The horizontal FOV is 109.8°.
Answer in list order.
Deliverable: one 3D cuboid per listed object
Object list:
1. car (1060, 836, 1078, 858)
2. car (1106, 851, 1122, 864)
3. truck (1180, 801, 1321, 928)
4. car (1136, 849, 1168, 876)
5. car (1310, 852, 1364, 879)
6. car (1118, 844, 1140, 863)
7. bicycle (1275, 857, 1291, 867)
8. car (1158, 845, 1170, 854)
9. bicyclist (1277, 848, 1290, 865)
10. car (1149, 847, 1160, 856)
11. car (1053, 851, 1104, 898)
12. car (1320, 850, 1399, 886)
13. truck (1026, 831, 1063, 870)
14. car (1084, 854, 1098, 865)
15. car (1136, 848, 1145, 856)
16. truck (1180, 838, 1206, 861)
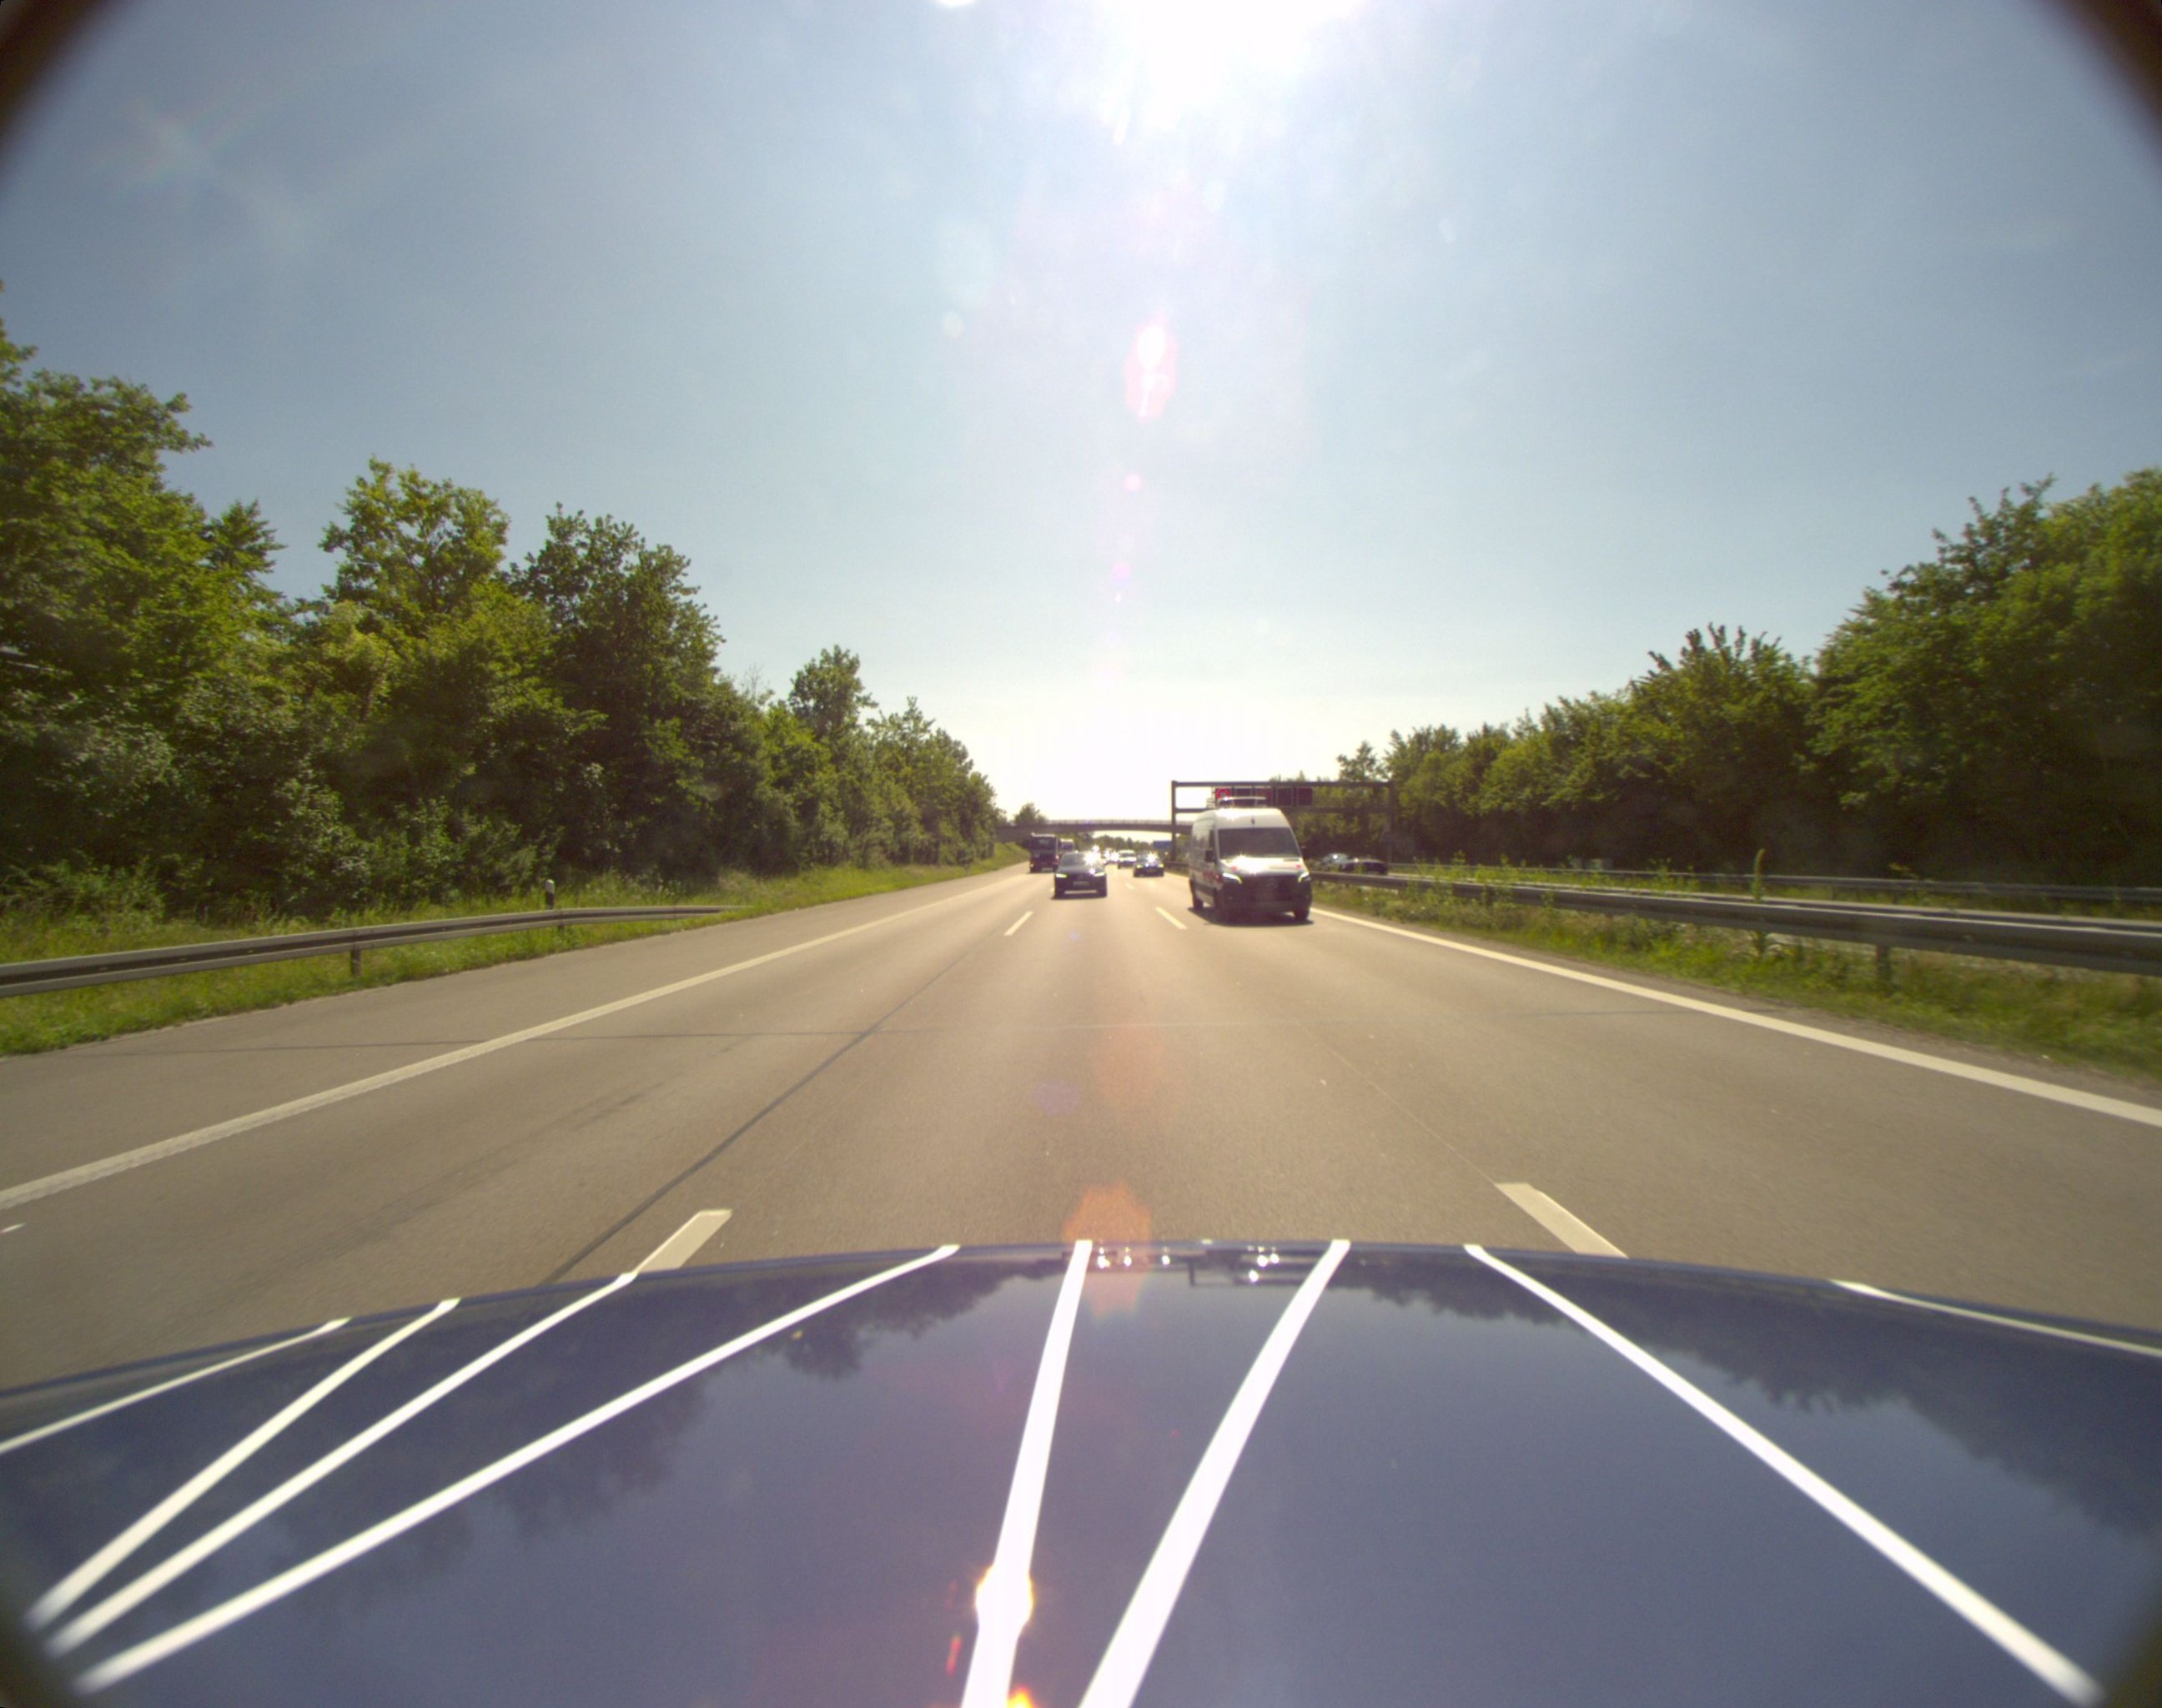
[{"bbox_3d":[-2.202,-1.264,141.033,3.202,3.997,8.125,0,1,1],"label":"car"},{"bbox_3d":[4.323,0.474,98.495,1.998,1.540,4.000,-1,1,2],"label":"car"},{"bbox_3d":[3.920,0.213,18.945,1.998,2.527,6.691,-2,0,1],"label":"truck"},{"bbox_3d":[4.561,0.528,49.400,1.904,1.616,4.241,-1,0,3],"label":"car"},{"bbox_3d":[16.085,0.668,47.984,1.872,1.576,4.558,0,0,0],"label":"car"},{"bbox_3d":[4.614,-0.043,73.801,1.870,1.713,3.980,-1,1,1],"label":"car"},{"bbox_3d":[19.654,0.778,73.943,0.904,0.911,2.732,-1,1,0],"label":"bicycle"},{"bbox_3d":[17.489,-1.060,160.166,1.998,1.795,5.125,-1,1,1],"label":"car"},{"bbox_3d":[19.615,0.234,73.687,0.882,1.567,1.287,-1,2,0],"label":"bicyclist"},{"bbox_3d":[13.784,-0.418,142.766,1.783,1.608,4.060,0,0,1],"label":"car"},{"bbox_3d":[-0.055,0.709,28.902,1.812,1.648,4.000,0,0,1],"label":"car"},{"bbox_3d":[12.597,0.580,34.647,1.998,1.511,4.427,0,0,0],"label":"car"},{"bbox_3d":[-3.209,-0.348,69.276,2.965,3.388,8.047,0,1,0],"label":"truck"},{"bbox_3d":[1.408,0.792,110.907,1.742,1.630,3.845,0,1,5],"label":"car"},{"bbox_3d":[14.185,-0.450,181.041,1.911,1.697,5.196,2,1,1],"label":"car"},{"bbox_3d":[17.192,-0.755,117.169,2.786,3.286,8.056,-1,1,0],"label":"truck"}]
